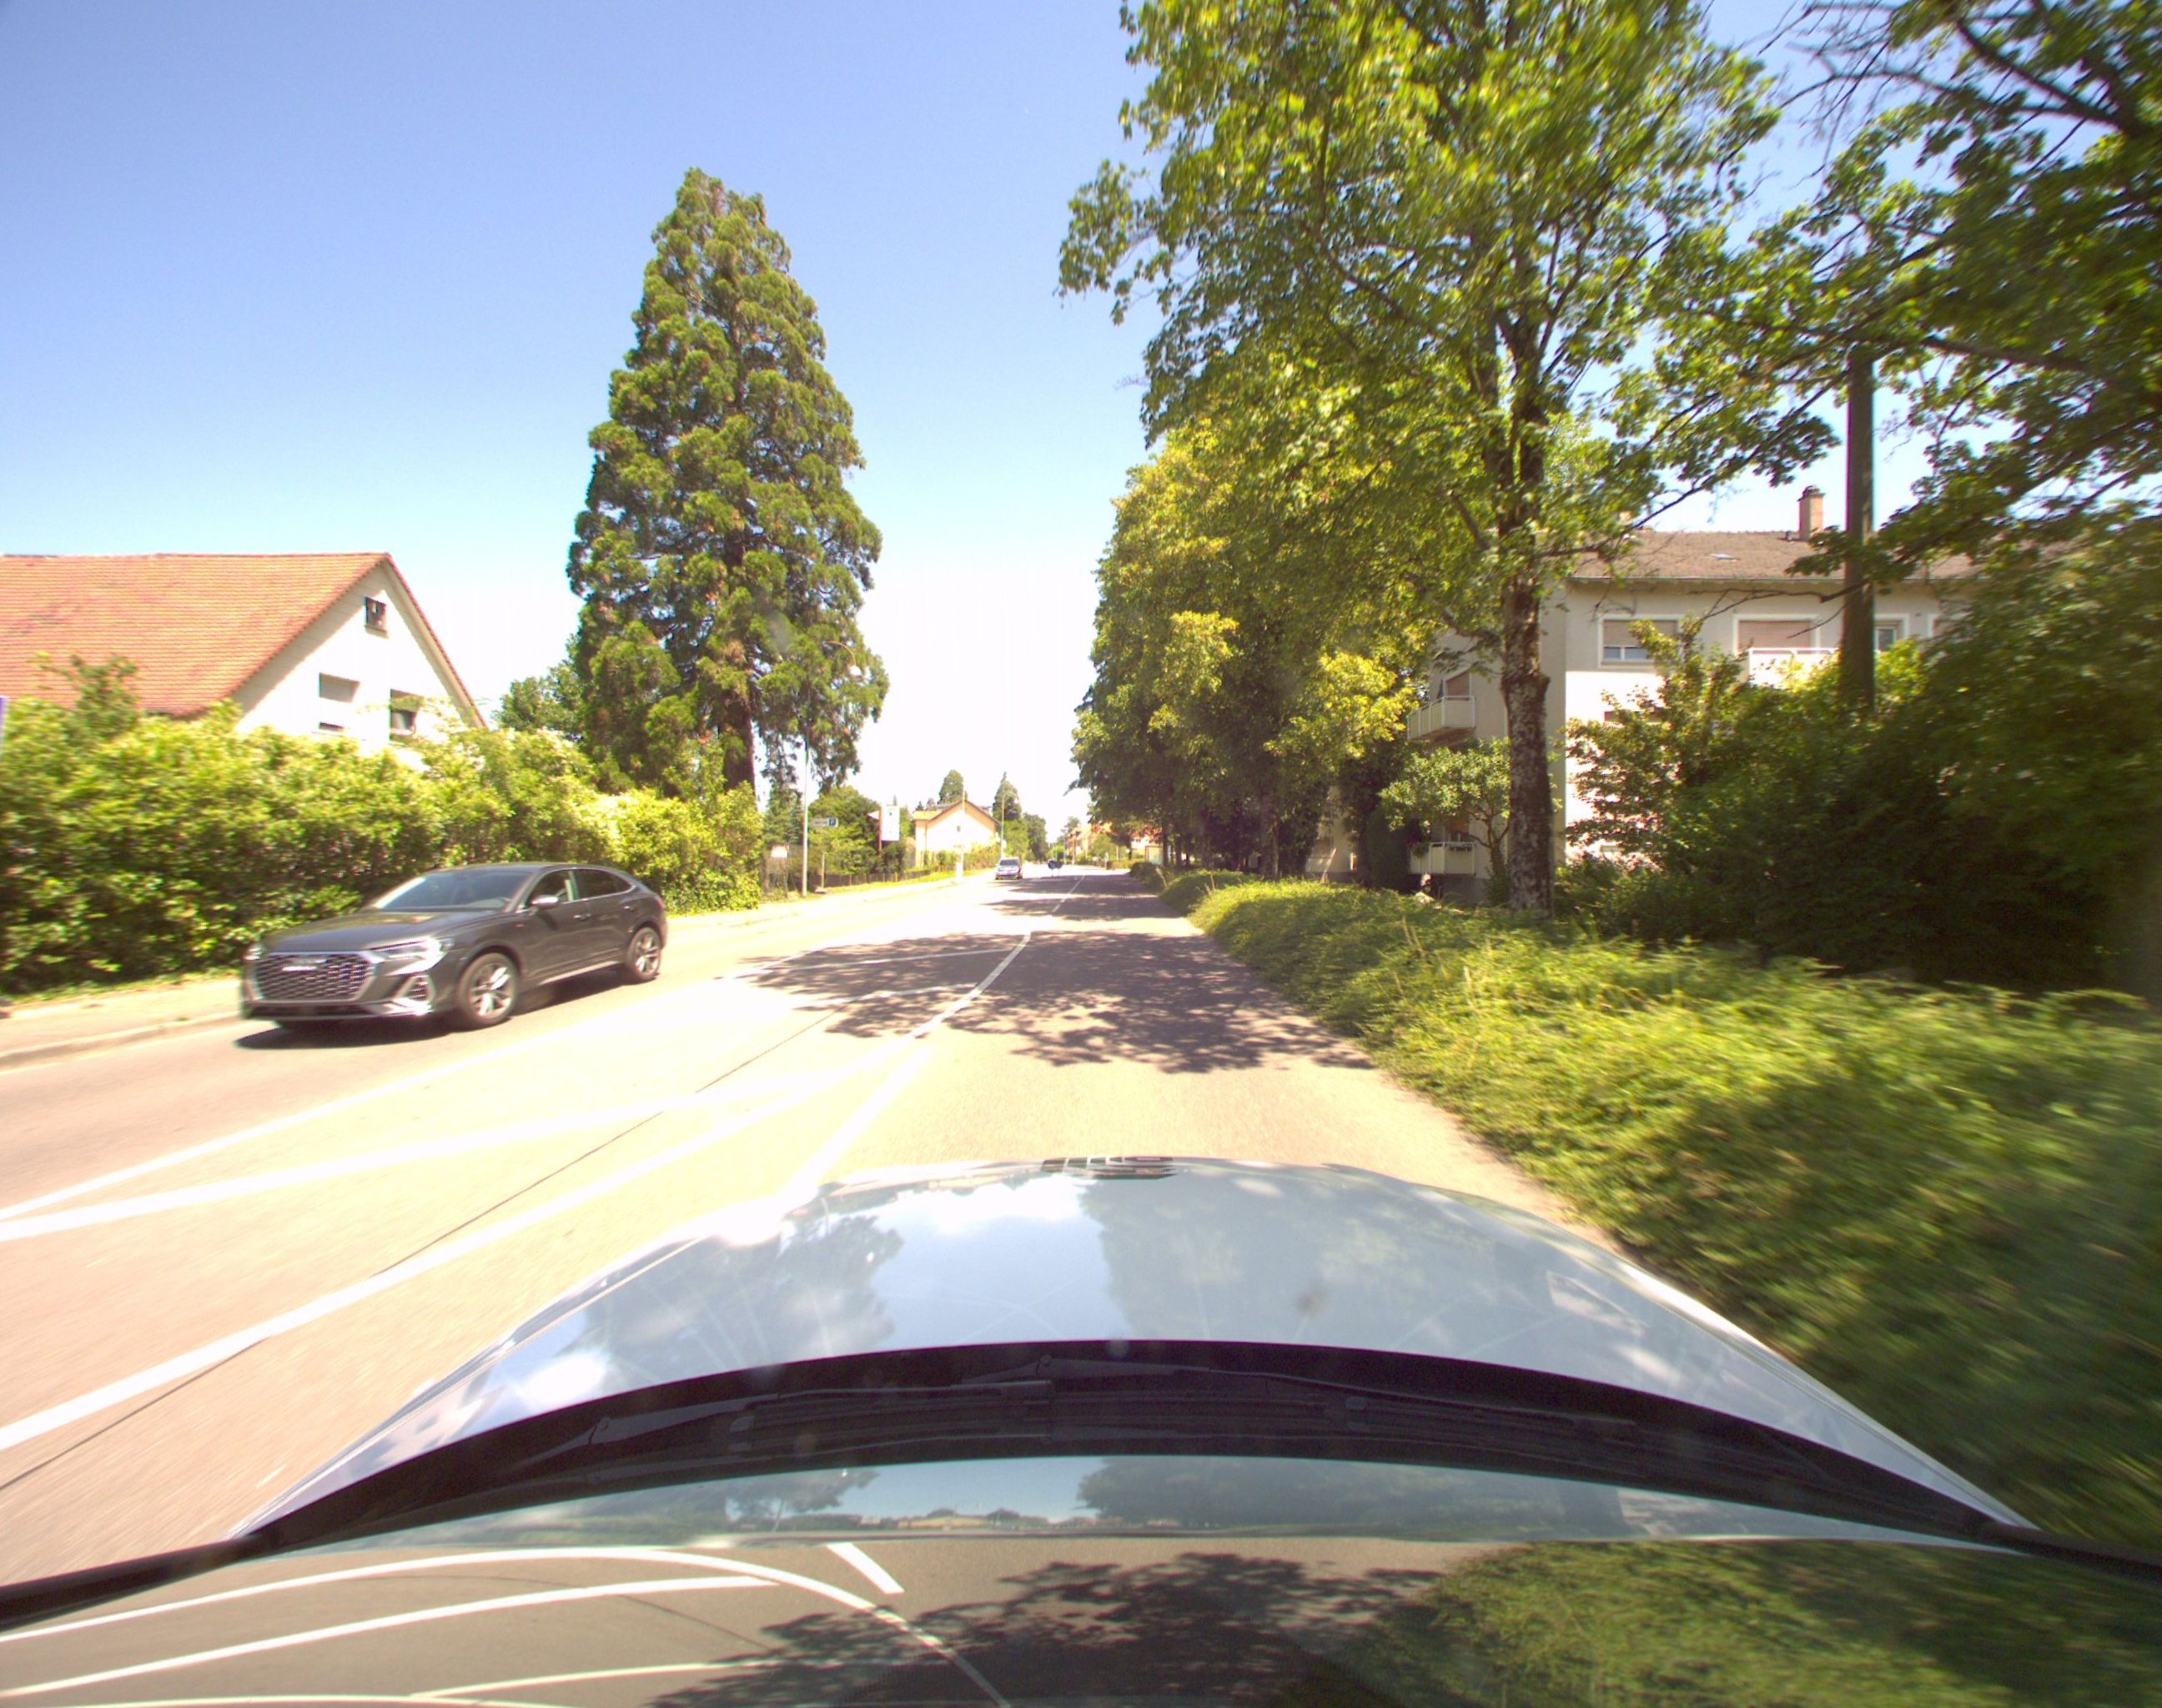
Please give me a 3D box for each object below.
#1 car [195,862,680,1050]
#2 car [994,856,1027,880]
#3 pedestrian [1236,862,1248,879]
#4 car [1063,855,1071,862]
[{"bbox_3d":[-6.425,0.869,8.943,1.787,1.536,4.317,0,0,2],"label":"car"},{"bbox_3d":[-5.159,0.981,60.092,1.905,1.689,4.126,-1,0,1],"label":"car"},{"bbox_3d":[10.971,1.127,55.496,0.701,1.160,0.755,0,0,5],"label":"pedestrian"},{"bbox_3d":[-3.903,1.255,225.333,1.808,1.718,4.002,0,0,2],"label":"car"}]
